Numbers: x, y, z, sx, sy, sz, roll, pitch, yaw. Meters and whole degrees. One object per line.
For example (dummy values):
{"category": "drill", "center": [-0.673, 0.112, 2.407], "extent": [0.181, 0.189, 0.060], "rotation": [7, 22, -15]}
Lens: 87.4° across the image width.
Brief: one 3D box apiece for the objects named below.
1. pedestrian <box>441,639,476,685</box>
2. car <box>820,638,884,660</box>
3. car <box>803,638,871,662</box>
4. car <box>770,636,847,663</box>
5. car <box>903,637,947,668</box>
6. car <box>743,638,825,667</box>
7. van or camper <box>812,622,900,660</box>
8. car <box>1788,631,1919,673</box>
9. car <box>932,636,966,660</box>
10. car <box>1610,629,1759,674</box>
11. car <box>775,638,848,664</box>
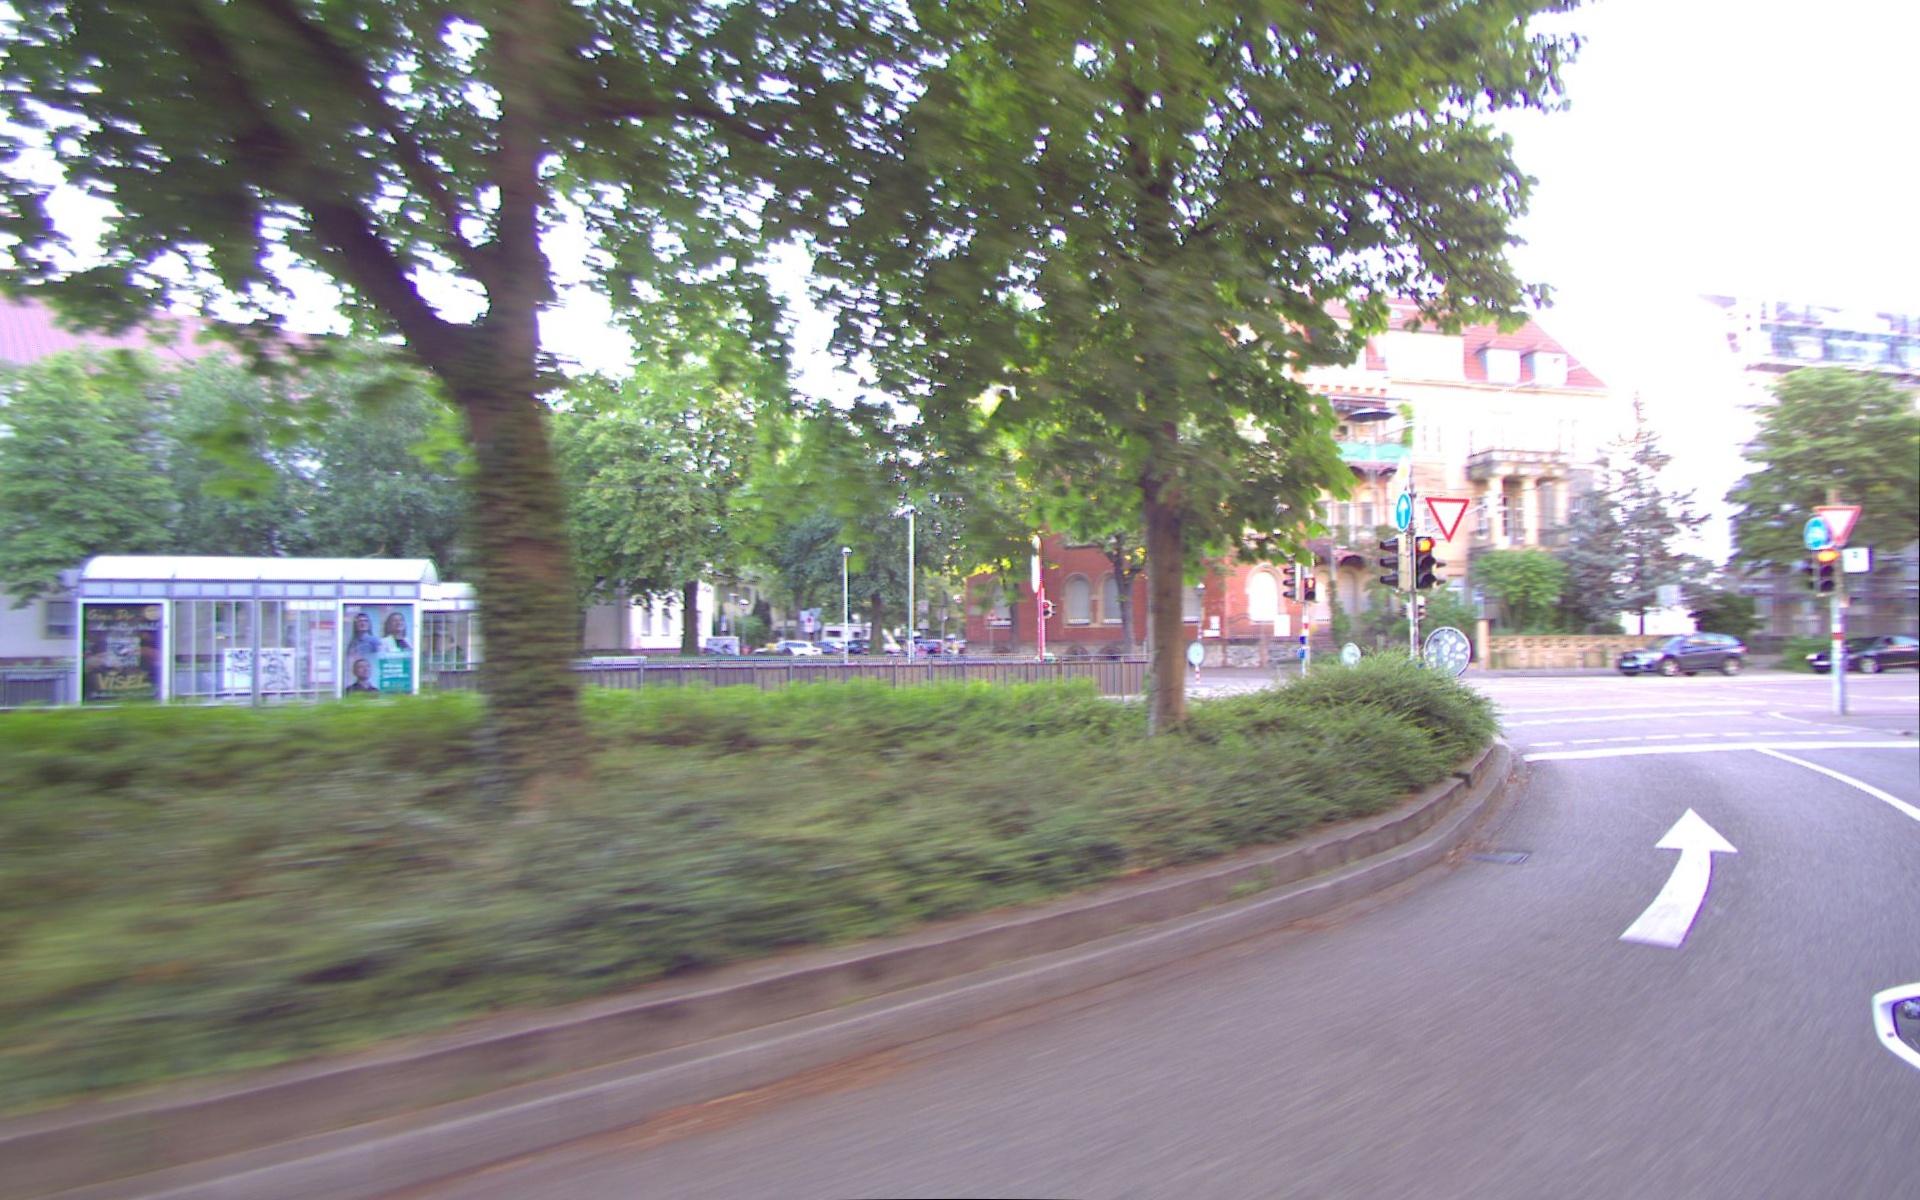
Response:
{"category": "pedestrian", "center": [-23.240, 2.849, 46.547], "extent": [0.996, 2.113, 1.058], "rotation": [-2, -2, 31]}
{"category": "car", "center": [-8.768, 3.987, 82.030], "extent": [4.867, 1.726, 2.001], "rotation": [1, -2, 3]}
{"category": "car", "center": [-9.409, 3.826, 77.112], "extent": [4.867, 1.726, 2.001], "rotation": [1, -2, 3]}
{"category": "car", "center": [-10.422, 3.405, 69.240], "extent": [4.867, 1.726, 2.001], "rotation": [1, -2, 3]}
{"category": "car", "center": [-2.021, 3.098, 59.454], "extent": [1.959, 1.726, 4.724], "rotation": [1, -2, 6]}
{"category": "car", "center": [-11.302, 3.356, 64.705], "extent": [4.867, 1.726, 2.001], "rotation": [1, -2, 3]}
{"category": "van or camper", "center": [-8.976, 3.524, 87.358], "extent": [7.241, 3.123, 2.675], "rotation": [1, -2, 3]}
{"category": "car", "center": [34.670, 1.981, 38.574], "extent": [4.549, 1.529, 1.947], "rotation": [0, -2, -11]}
{"category": "car", "center": [-0.779, 3.602, 75.764], "extent": [1.959, 1.726, 4.724], "rotation": [1, -2, 6]}
{"category": "car", "center": [26.403, 1.858, 36.646], "extent": [4.341, 1.529, 1.947], "rotation": [0, -2, -11]}
{"category": "car", "center": [-10.649, 3.659, 72.304], "extent": [4.867, 1.726, 2.001], "rotation": [1, -2, 3]}
